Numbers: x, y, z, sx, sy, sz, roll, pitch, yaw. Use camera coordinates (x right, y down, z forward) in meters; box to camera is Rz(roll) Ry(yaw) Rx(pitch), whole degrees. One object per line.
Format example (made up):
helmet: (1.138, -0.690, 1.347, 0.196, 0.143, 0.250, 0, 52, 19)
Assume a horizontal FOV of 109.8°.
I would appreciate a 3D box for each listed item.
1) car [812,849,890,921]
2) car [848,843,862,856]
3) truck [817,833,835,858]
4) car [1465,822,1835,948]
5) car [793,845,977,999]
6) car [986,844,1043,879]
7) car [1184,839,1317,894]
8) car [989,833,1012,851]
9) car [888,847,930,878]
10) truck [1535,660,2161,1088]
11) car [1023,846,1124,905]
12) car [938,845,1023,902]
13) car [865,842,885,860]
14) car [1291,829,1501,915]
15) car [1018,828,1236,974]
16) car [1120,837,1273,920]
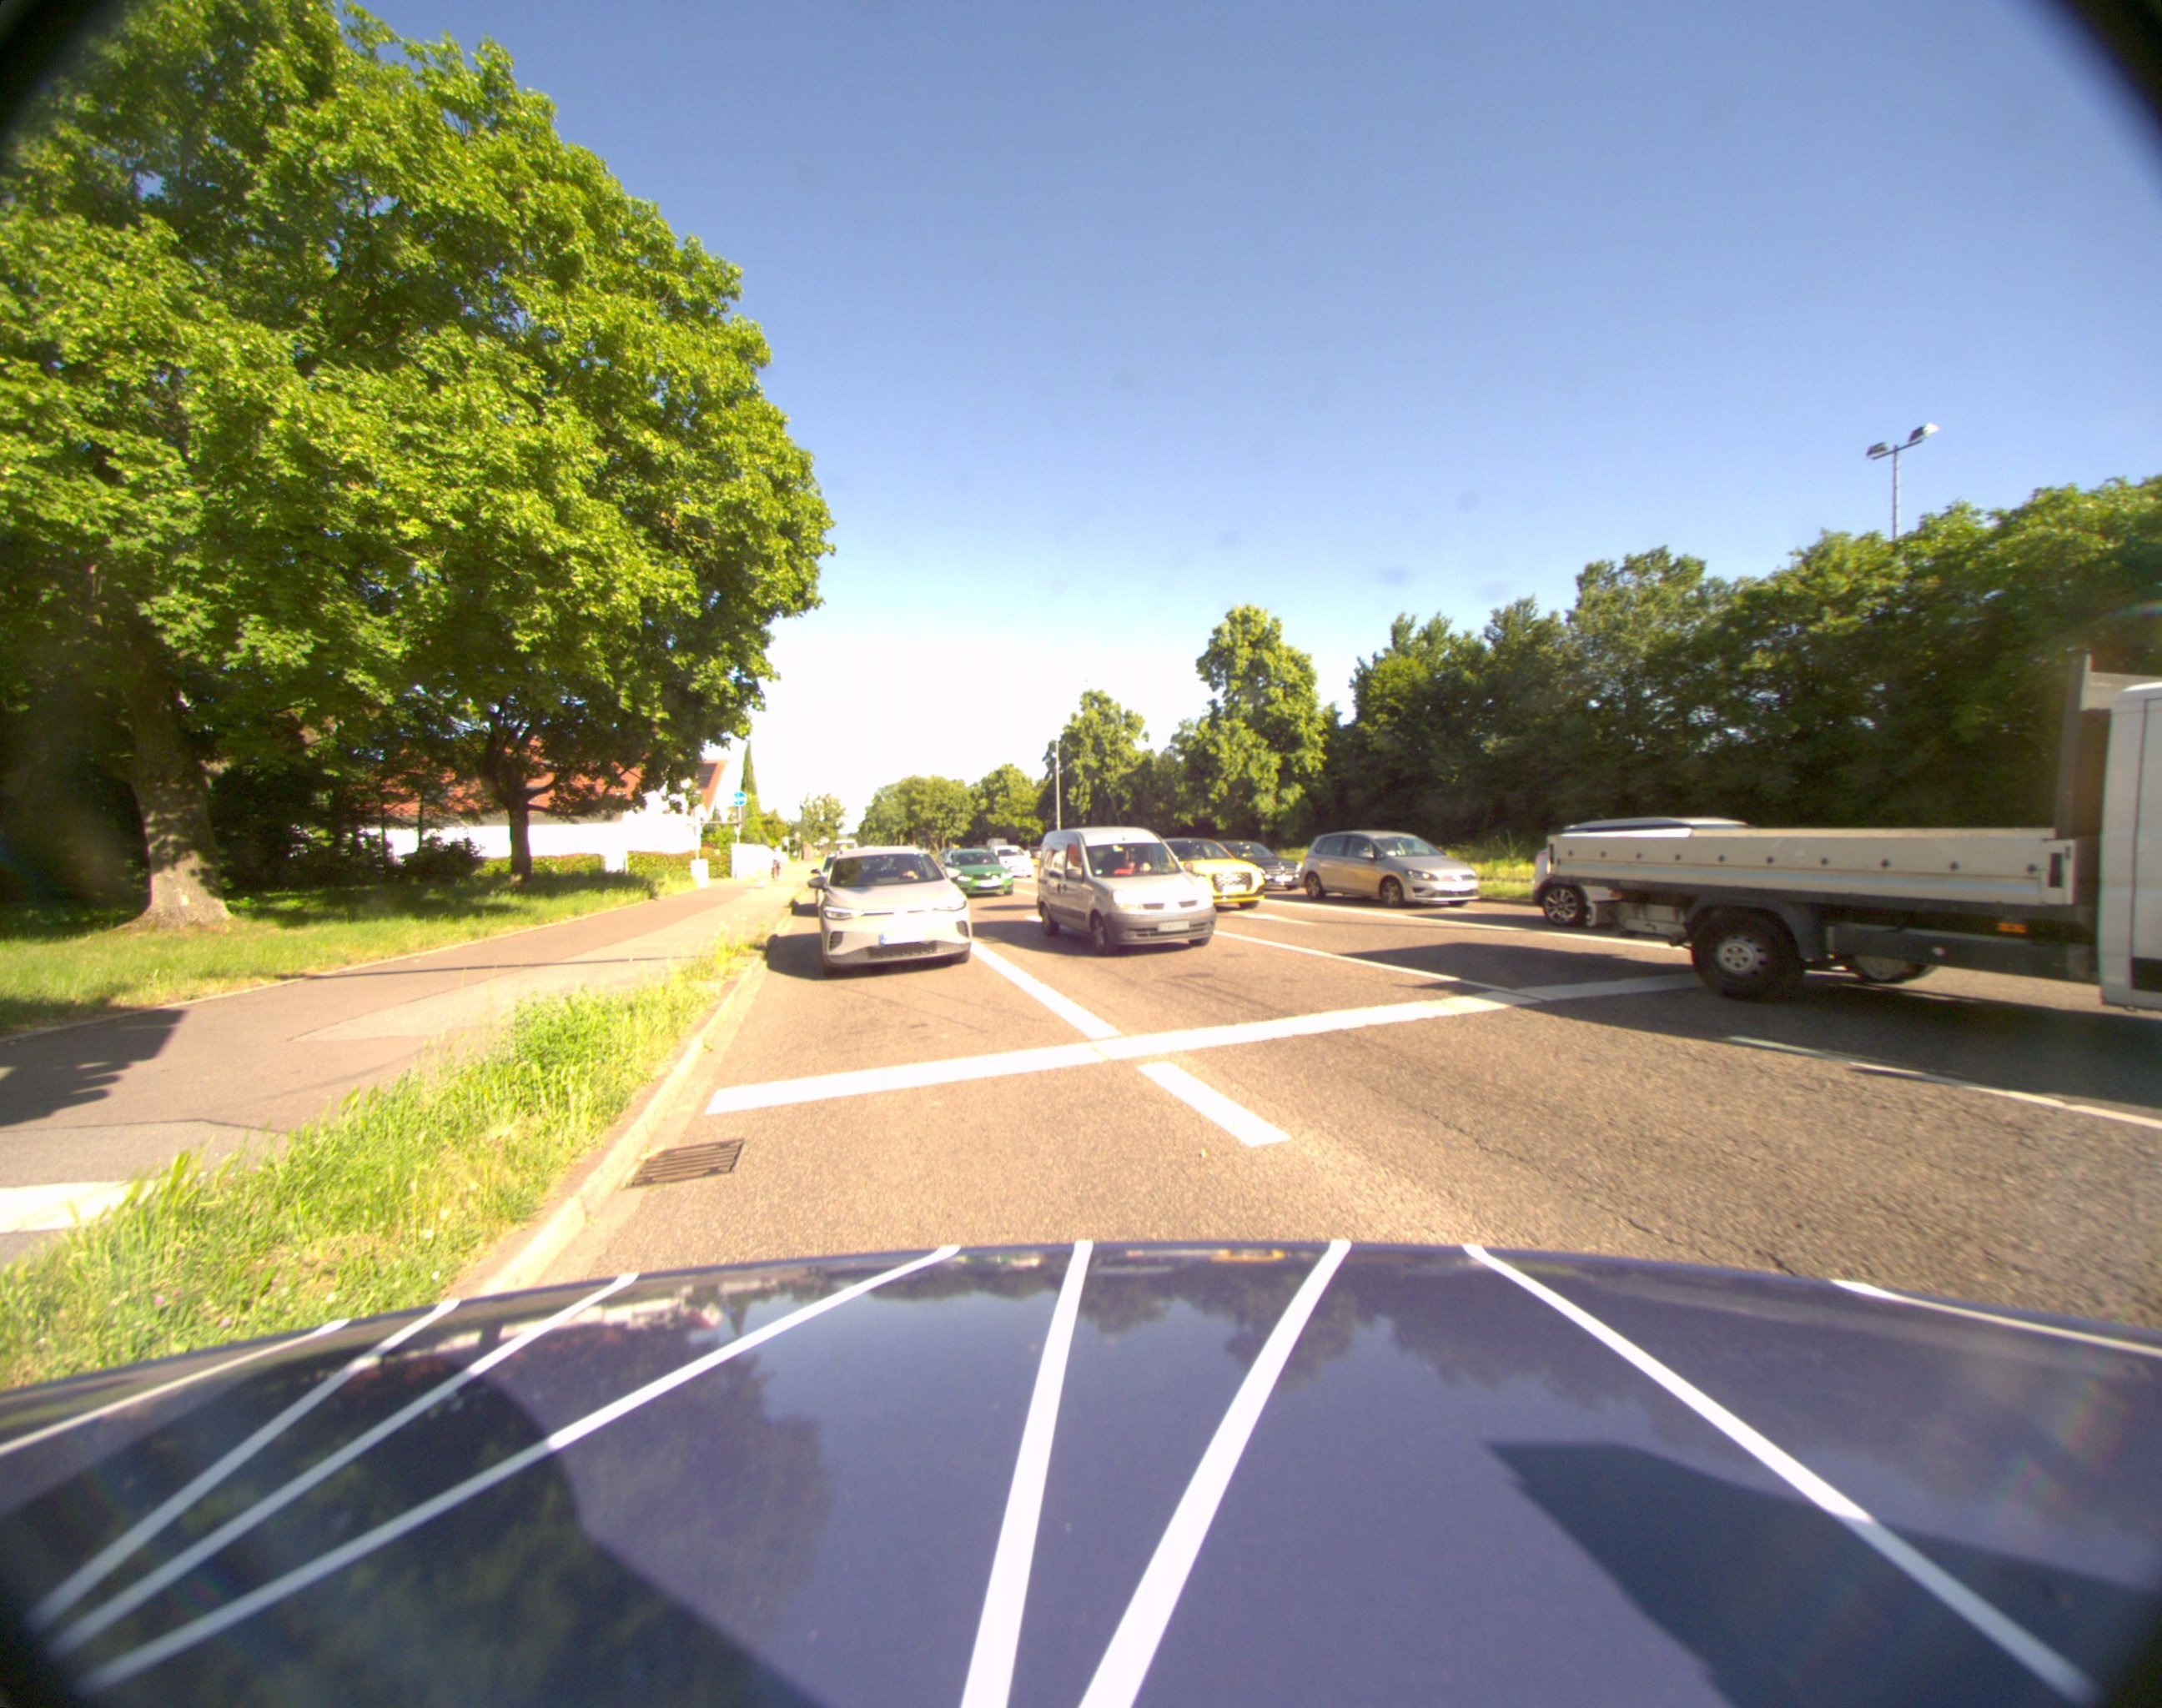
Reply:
car: (-6.106, 0.711, 20.100, 1.694, 1.564, 4.114, -4, 2, -18)
car: (-34.394, -0.691, 115.551, 1.843, 1.788, 3.905, -4, 2, -18)
truck: (-32.807, -1.073, 97.896, 2.001, 3.059, 5.798, -4, 2, -18)
car: (8.208, 0.343, 11.520, 1.838, 1.529, 4.187, -1, 1, -18)
car: (-2.881, 0.758, 11.065, 1.995, 1.631, 4.358, -4, 2, -16)
car: (-3.129, 0.291, 34.933, 1.694, 1.432, 3.905, -4, 2, -18)
car: (4.808, 0.299, 22.232, 1.838, 1.397, 4.348, -2, 1, -18)
car: (-10.174, -1.508, 95.606, 1.919, 2.073, 4.532, -4, 2, -17)
car: (-9.534, 0.439, 41.825, 1.921, 1.477, 4.358, -4, 2, -16)
truck: (6.690, 0.081, 4.818, 2.193, 2.296, 6.762, -2, 1, -18)
car: (-0.319, 0.531, 21.540, 1.694, 1.432, 4.114, -2, 1, -18)
car: (-3.236, 0.513, 23.754, 1.921, 1.477, 4.358, -4, 2, -16)
car: (-22.943, -0.355, 84.567, 1.801, 1.788, 3.905, -4, 2, -18)
car: (6.563, 0.294, 16.392, 1.881, 1.566, 4.236, -2, 1, -18)
car: (0.456, 0.545, 11.763, 1.921, 1.719, 4.358, -4, 2, -16)
car: (2.352, 0.431, 16.553, 1.729, 1.492, 3.994, -4, 2, -16)
